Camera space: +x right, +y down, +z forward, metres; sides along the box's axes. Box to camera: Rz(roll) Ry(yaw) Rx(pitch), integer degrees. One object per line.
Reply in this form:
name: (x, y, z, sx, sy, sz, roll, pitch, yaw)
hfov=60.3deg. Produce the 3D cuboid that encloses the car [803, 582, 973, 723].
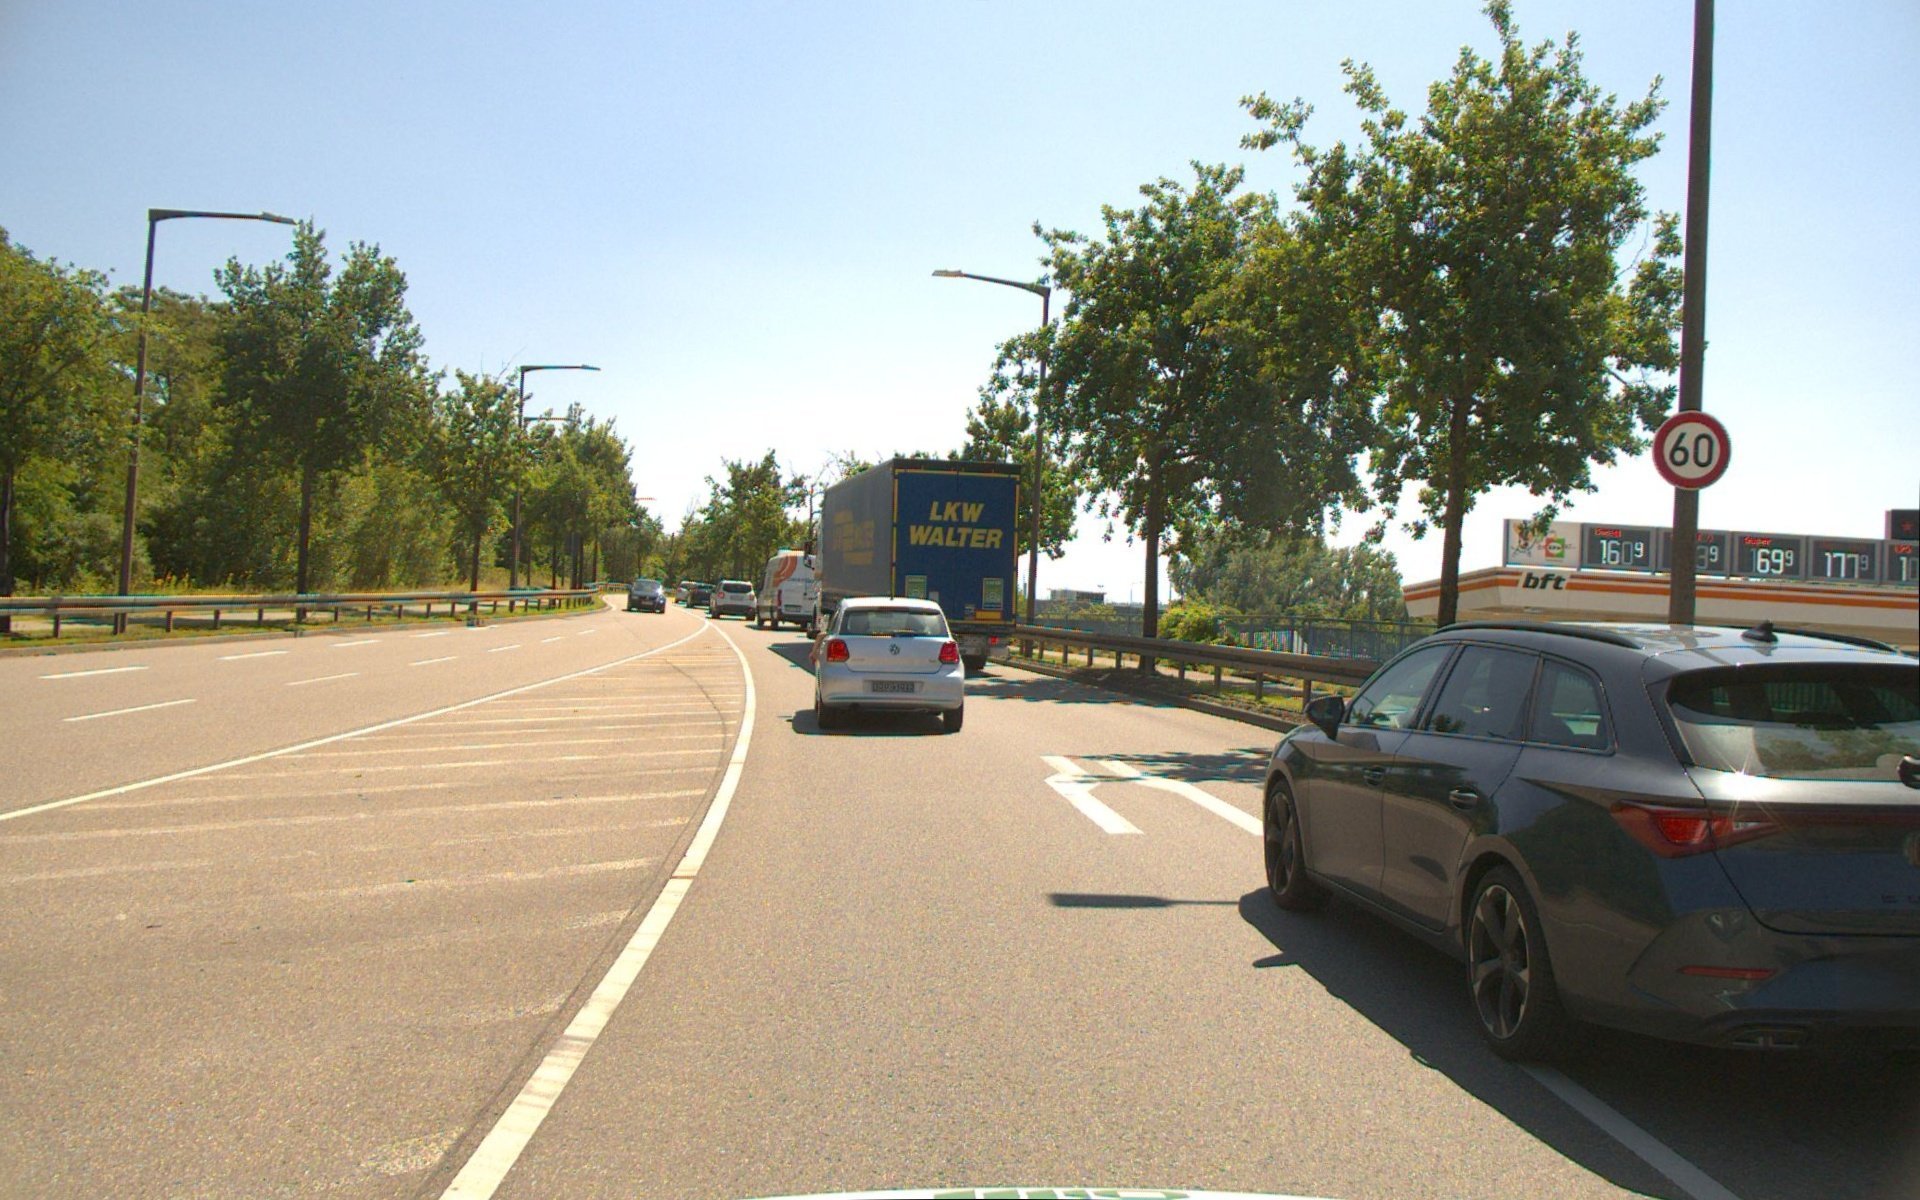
car: (-0.929, 0.612, 19.570, 1.615, 1.464, 3.529, 2, -2, -8)

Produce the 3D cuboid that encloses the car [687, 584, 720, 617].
car: (-14.791, 0.038, 95.221, 1.691, 1.756, 3.990, 2, -2, -10)

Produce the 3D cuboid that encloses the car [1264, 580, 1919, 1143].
car: (2.549, 0.778, 6.566, 1.573, 1.481, 4.230, 2, -2, -4)

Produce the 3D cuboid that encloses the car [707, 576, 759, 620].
car: (-10.031, -0.068, 72.831, 1.870, 1.748, 4.209, 2, -2, -13)

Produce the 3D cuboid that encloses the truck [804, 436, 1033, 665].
truck: (-1.541, -0.837, 39.740, 2.782, 4.272, 16.429, 2, -1, -11)

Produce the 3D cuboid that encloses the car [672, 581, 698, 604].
car: (-18.143, -0.499, 109.103, 1.579, 1.384, 3.654, 2, -1, -10)

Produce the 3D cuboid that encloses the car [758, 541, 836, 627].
car: (-6.115, -0.571, 61.293, 2.137, 2.951, 6.339, 2, 0, -12)

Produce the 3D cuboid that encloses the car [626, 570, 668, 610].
car: (-14.262, -0.489, 75.454, 1.647, 1.700, 3.748, 2, 1, -8)
